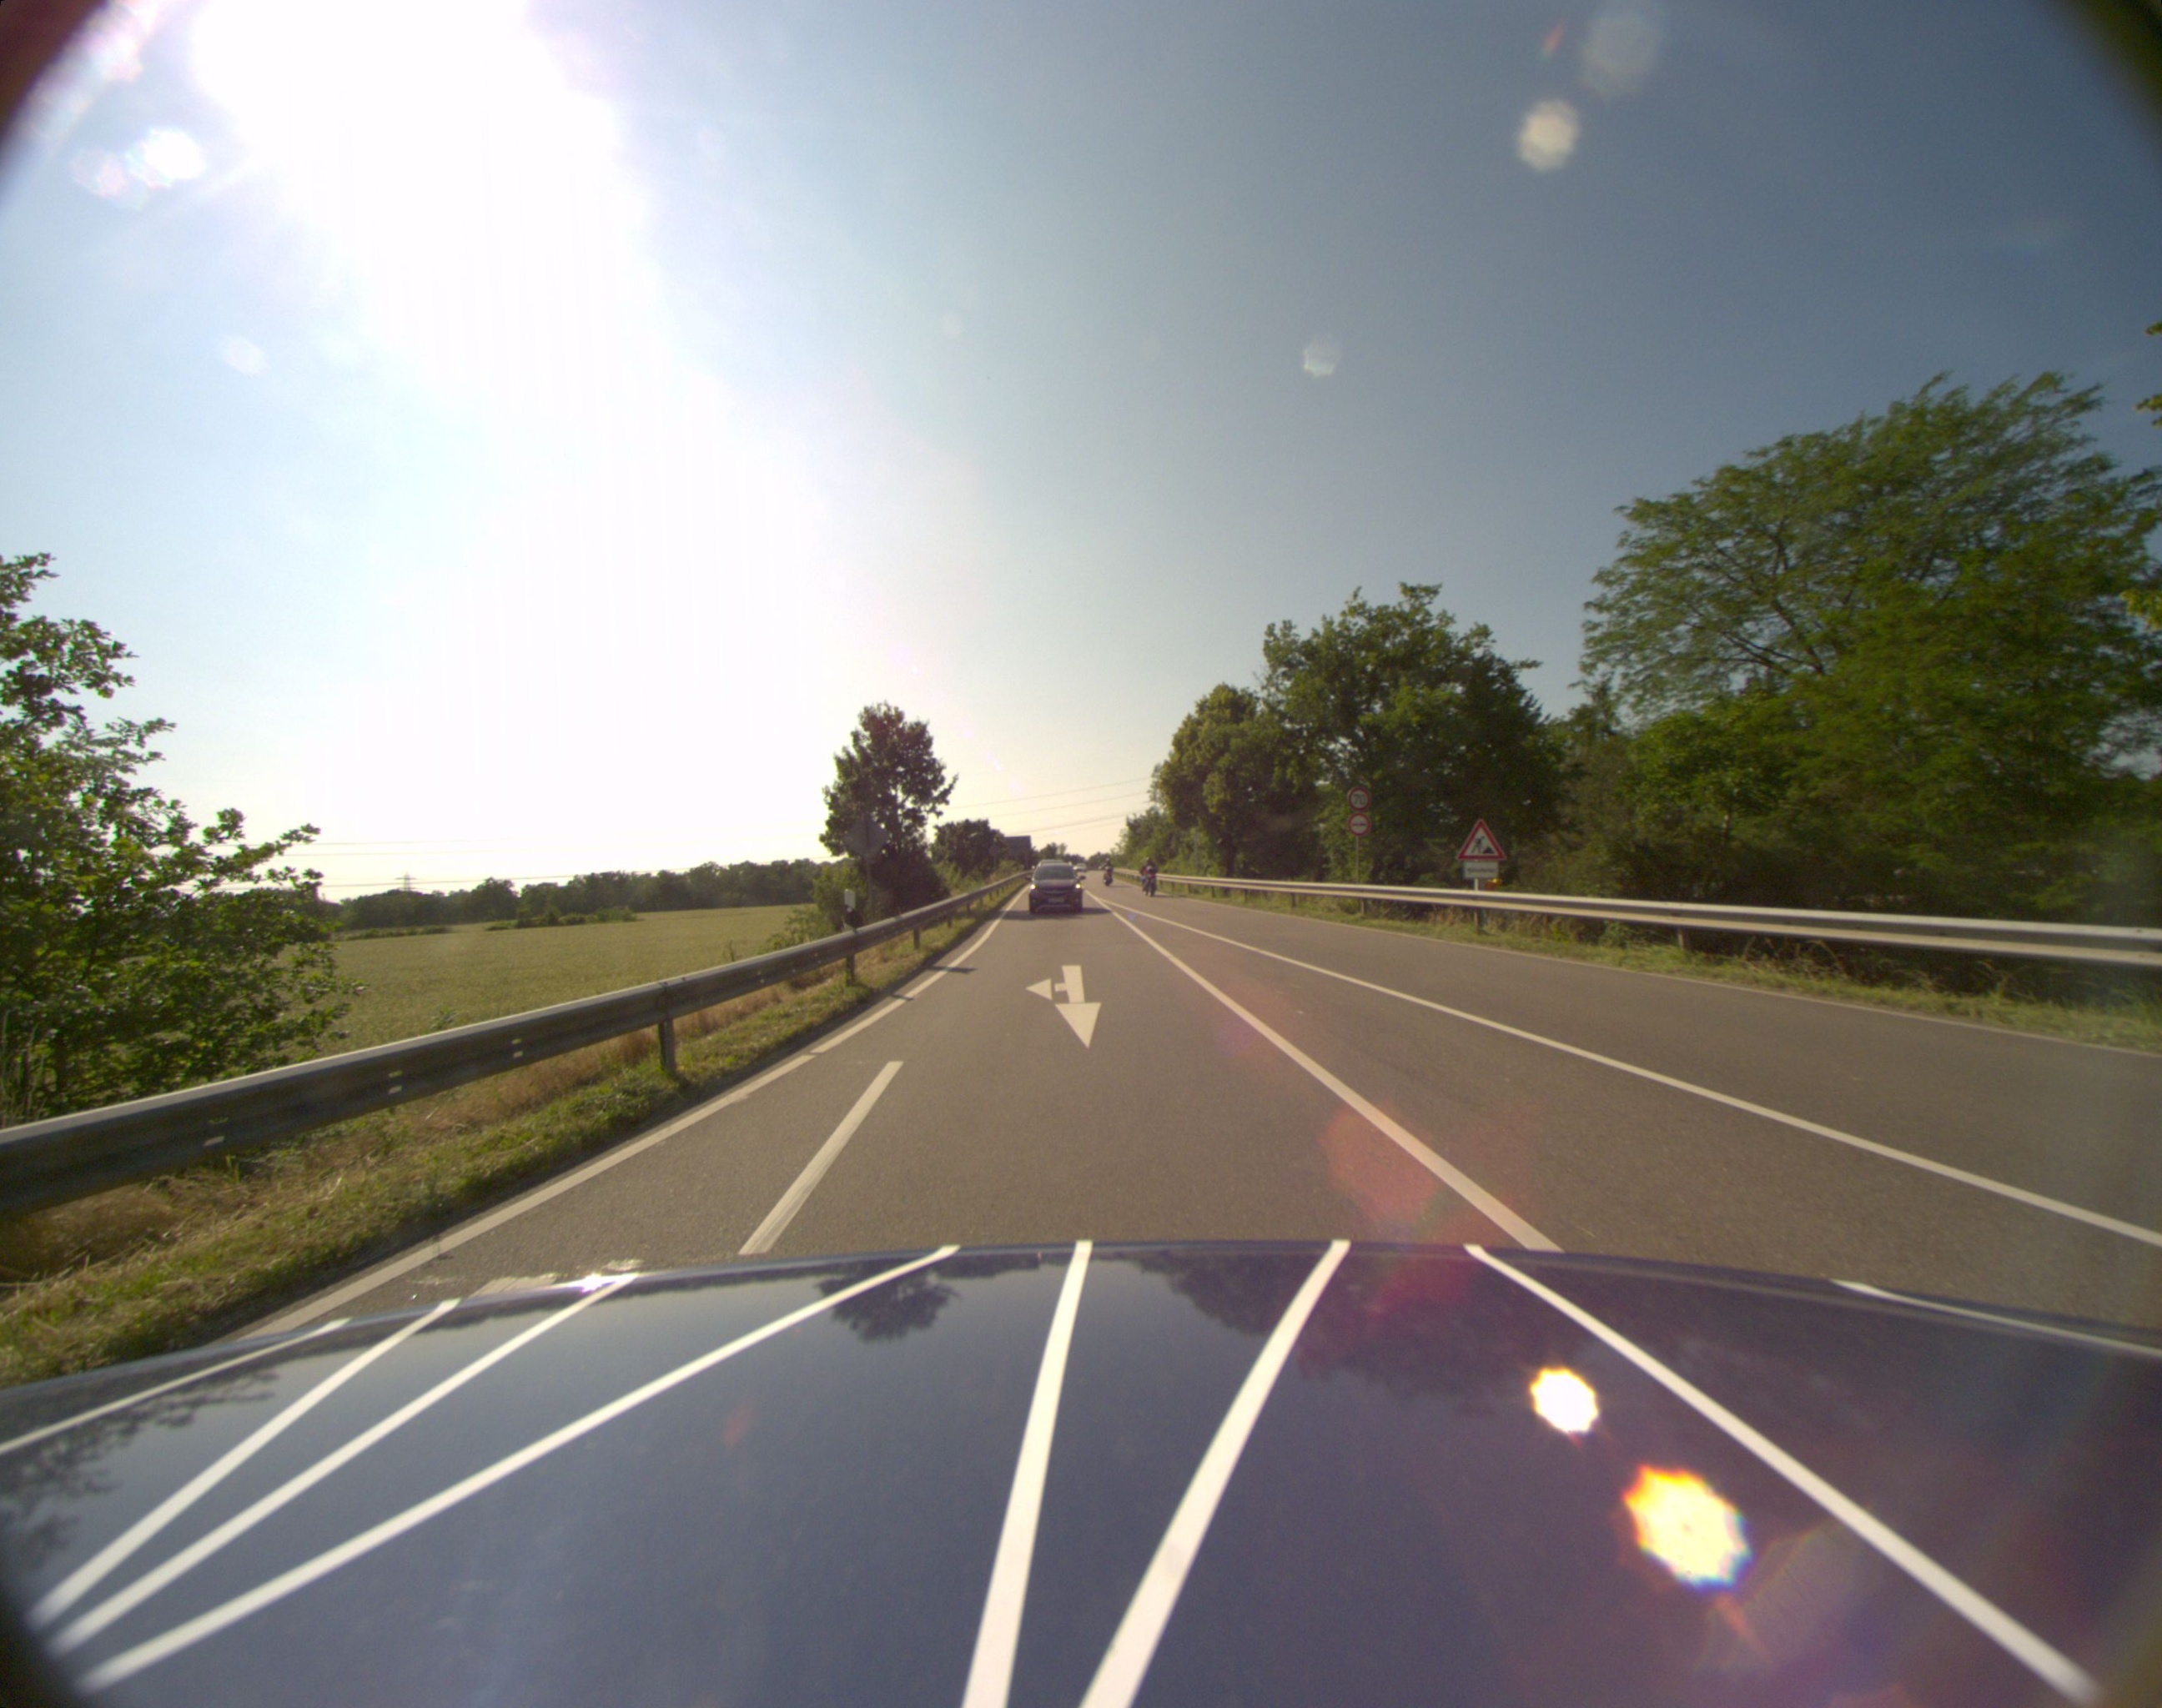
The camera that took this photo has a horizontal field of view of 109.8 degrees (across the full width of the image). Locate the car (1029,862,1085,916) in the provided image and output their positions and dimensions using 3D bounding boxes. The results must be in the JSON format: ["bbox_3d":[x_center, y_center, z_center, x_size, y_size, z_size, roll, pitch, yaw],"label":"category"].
[{"bbox_3d":[-0.728,1.051,24.208,1.607,1.486,3.999,-1,0,-1],"label":"car"}]

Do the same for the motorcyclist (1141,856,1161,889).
[{"bbox_3d":[3.016,0.786,32.937,0.701,1.399,0.979,-1,0,-3],"label":"motorcyclist"}]

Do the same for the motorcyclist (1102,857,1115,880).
[{"bbox_3d":[1.701,0.887,47.231,0.701,1.399,0.784,-1,0,-3],"label":"motorcyclist"}]

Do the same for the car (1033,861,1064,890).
[{"bbox_3d":[-1.821,1.171,43.116,1.607,1.486,3.999,-1,0,-1],"label":"car"}]

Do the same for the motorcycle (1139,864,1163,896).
[{"bbox_3d":[3.025,1.111,32.972,0.719,1.301,2.181,-1,0,-3],"label":"motorcycle"}]

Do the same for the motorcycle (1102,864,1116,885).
[{"bbox_3d":[1.721,1.239,47.139,0.719,1.243,2.078,-1,0,-2],"label":"motorcycle"}]
